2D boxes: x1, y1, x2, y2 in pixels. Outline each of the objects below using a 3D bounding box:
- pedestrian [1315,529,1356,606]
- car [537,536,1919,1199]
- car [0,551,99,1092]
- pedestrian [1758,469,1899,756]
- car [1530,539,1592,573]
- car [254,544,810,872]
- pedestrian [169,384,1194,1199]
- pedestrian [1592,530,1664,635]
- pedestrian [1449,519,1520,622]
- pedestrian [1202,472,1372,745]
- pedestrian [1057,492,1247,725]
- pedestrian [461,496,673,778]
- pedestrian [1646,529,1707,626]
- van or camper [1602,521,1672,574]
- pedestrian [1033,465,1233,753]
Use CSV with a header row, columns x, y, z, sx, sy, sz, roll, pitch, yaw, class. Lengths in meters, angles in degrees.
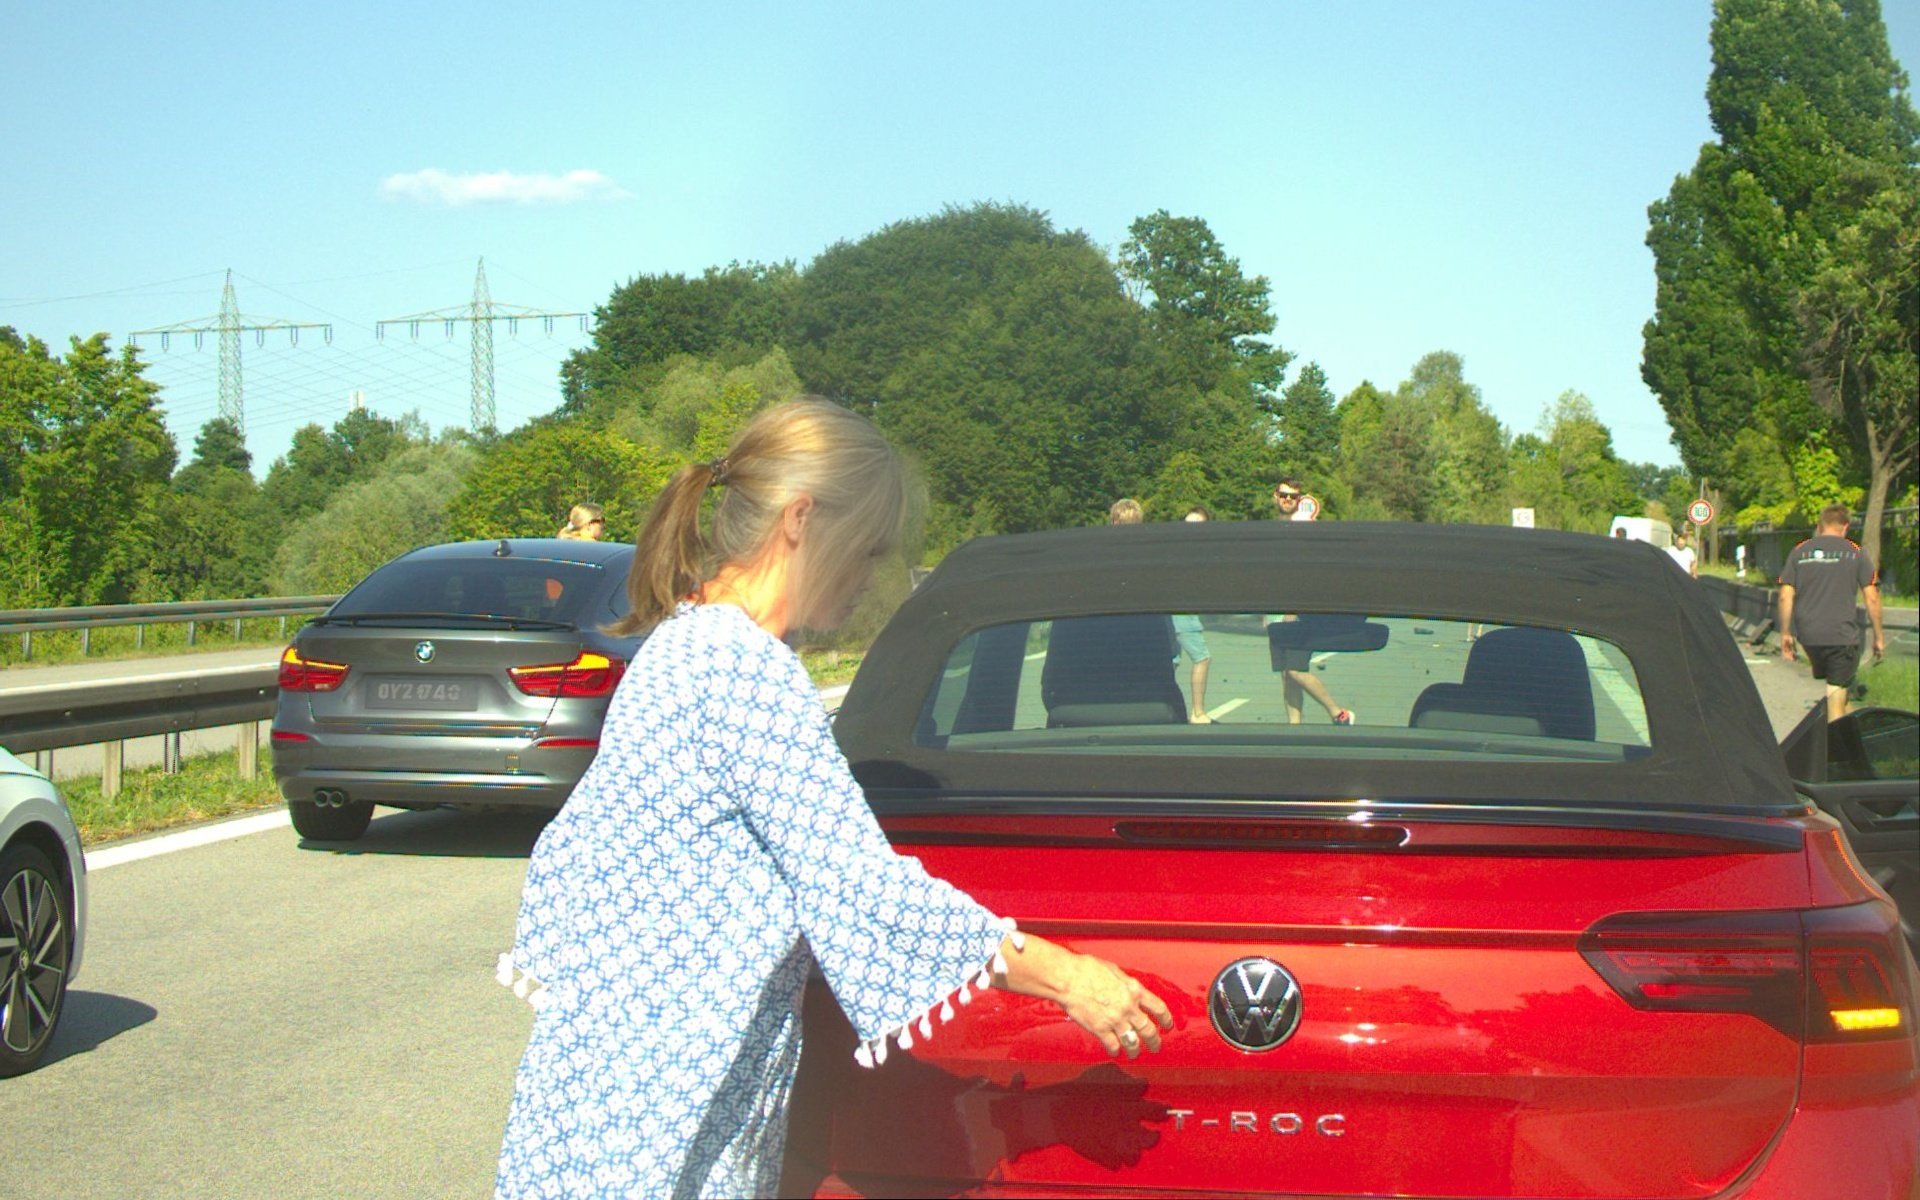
x,y,z,sx,sy,sz,roll,pitch,yaw,class
8.303,-0.717,75.965,0.792,1.683,0.792,1,1,14,pedestrian
0.668,0.643,5.997,1.733,1.482,4.209,1,1,8,car
-3.607,0.611,7.843,1.695,1.436,4.209,1,1,8,car
5.467,0.071,21.615,0.812,1.753,0.827,1,1,16,pedestrian
27.426,-2.021,156.918,1.735,1.482,4.205,1,1,25,car
-2.017,0.441,17.503,1.695,1.421,4.332,1,1,8,car
-0.284,0.628,3.779,0.840,1.677,0.742,0,1,30,pedestrian
11.002,-0.291,56.607,1.056,1.683,1.016,1,1,15,pedestrian
8.763,-0.494,57.430,1.114,1.683,0.973,1,1,10,pedestrian
2.349,0.051,24.856,1.105,1.906,1.257,-1,1,1,pedestrian
1.503,0.063,27.020,1.087,1.782,1.108,1,1,-23,pedestrian
-2.516,0.225,22.132,1.041,1.757,1.118,-1,1,11,pedestrian
12.653,-0.408,60.670,0.997,1.683,1.010,1,1,13,pedestrian
30.562,-2.344,155.023,1.996,2.308,4.464,1,1,26,van or camper
1.173,0.052,23.105,1.066,1.876,1.092,0,1,19,pedestrian
